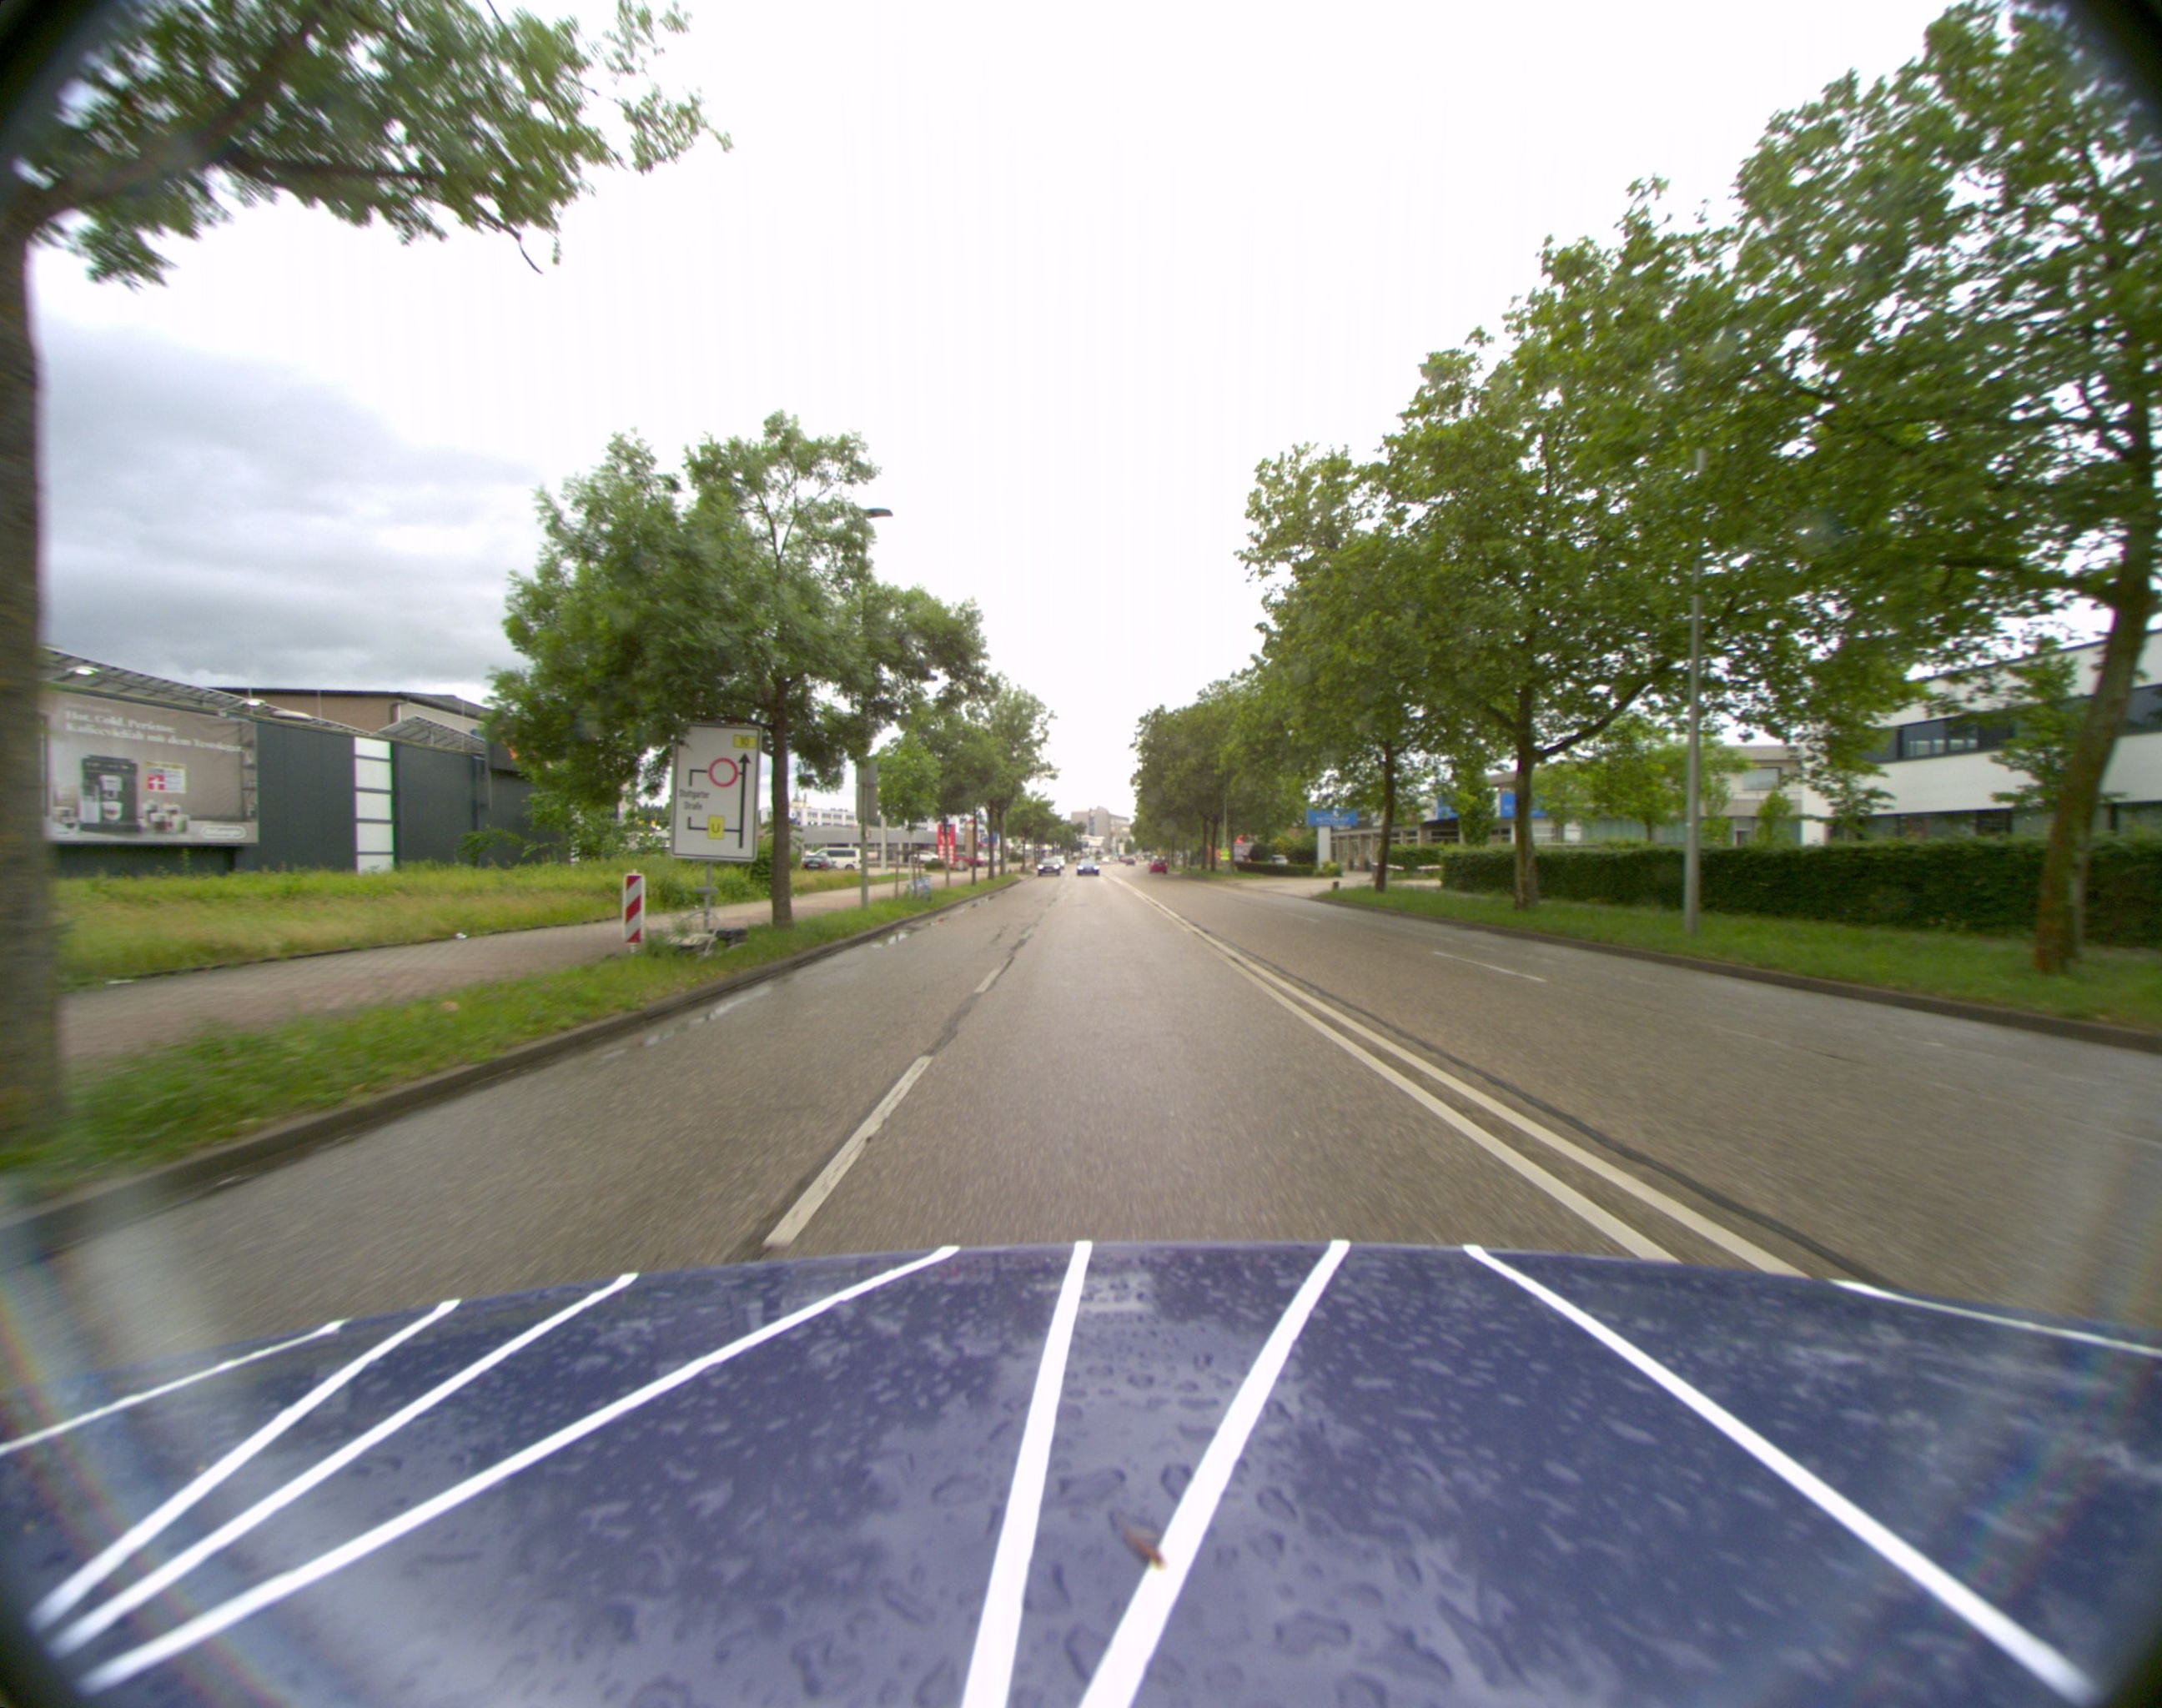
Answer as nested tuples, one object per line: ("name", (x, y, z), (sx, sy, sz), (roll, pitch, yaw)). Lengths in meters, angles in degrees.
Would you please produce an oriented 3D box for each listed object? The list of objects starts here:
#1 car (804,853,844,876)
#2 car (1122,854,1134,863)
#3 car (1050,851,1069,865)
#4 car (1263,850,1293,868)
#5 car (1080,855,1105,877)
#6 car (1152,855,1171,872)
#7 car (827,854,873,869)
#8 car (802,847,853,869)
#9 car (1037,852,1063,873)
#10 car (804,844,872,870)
("car", (-16.517, 0.635, 49.007), (1.755, 1.405, 4.133), (1, 0, -9))
("car", (9.098, 0.905, 146.756), (1.998, 1.632, 4.360), (0, 0, 1))
("car", (-2.652, 0.518, 94.586), (1.998, 1.632, 4.360), (-2, 1, 1))
("car", (18.086, 0.459, 69.795), (1.746, 1.525, 4.000), (2, 1, 2))
("car", (0.978, 0.964, 64.256), (1.998, 1.632, 4.360), (-2, 1, 1))
("car", (8.116, 0.930, 76.863), (1.745, 1.525, 4.001), (2, 1, 4))
("car", (-21.931, 0.724, 72.280), (4.001, 1.390, 1.675), (0, 0, -11))
("car", (-22.605, 0.385, 67.787), (4.000, 1.787, 1.821), (-2, 1, -8))
("car", (-2.638, 0.716, 65.632), (1.998, 1.632, 4.360), (-2, 1, 1))
("car", (-19.502, 0.271, 61.119), (4.966, 2.002, 1.998), (1, 0, -11))
